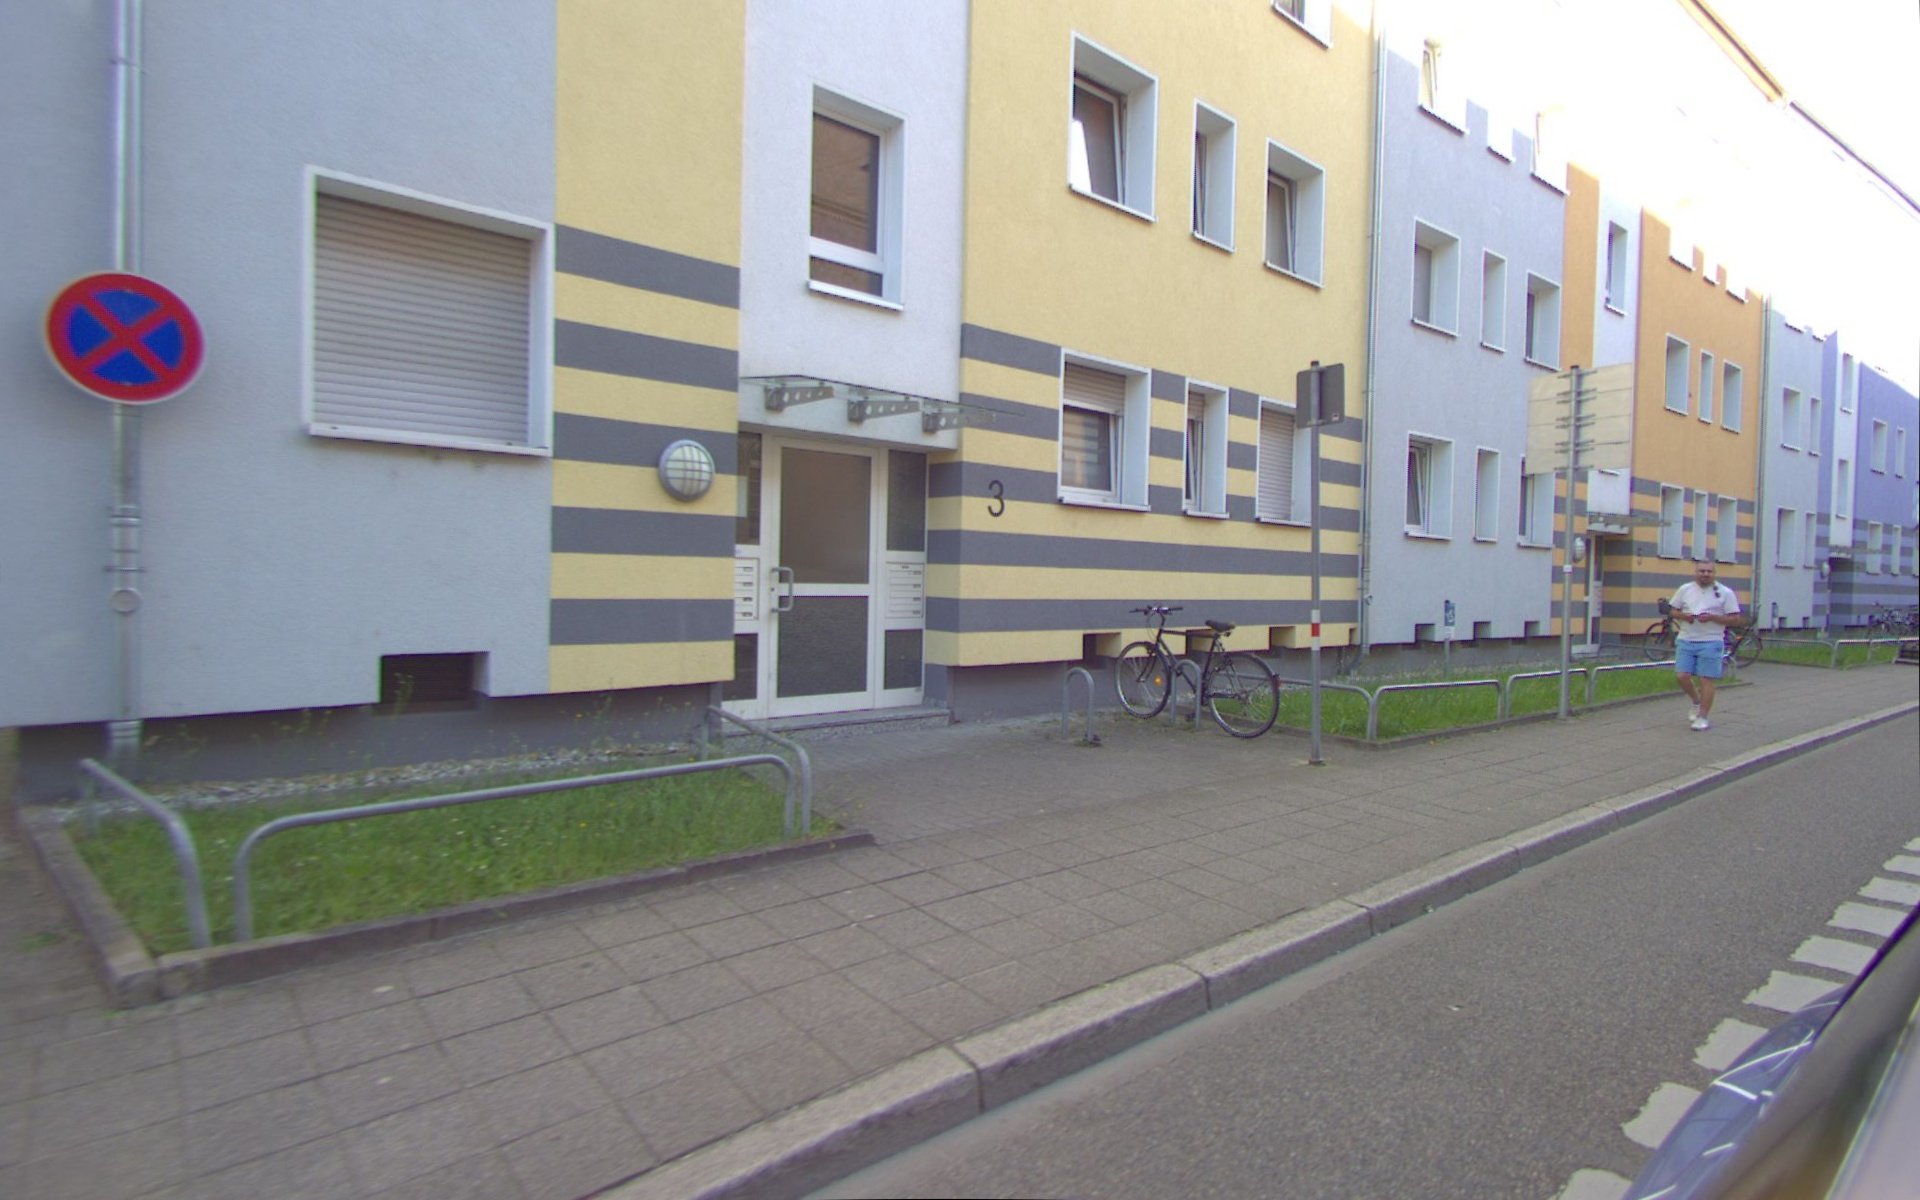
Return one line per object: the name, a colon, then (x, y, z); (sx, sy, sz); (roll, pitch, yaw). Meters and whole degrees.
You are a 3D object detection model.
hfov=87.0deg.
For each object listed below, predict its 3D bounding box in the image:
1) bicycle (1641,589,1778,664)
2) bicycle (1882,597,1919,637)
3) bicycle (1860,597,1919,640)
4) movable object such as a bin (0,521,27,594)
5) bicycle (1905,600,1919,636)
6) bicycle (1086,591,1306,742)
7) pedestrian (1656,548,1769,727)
bicycle: (12.929, 0.426, 17.512); (0.573, 1.138, 1.776); (0, 4, -41)
bicycle: (25.740, 0.492, 26.834); (0.572, 1.007, 1.780); (0, 4, -32)
bicycle: (24.567, 0.496, 26.183); (0.572, 1.007, 1.780); (0, 4, -32)
movable object such as a bin: (-21.775, -0.970, 22.509); (1.159, 1.603, 1.237); (1, 3, -25)
bicycle: (26.445, 0.545, 26.930); (0.572, 0.950, 1.780); (0, 4, -32)
bicycle: (1.975, 0.506, 8.667); (0.574, 1.061, 1.774); (-1, 4, -44)
pedestrian: (7.553, 0.346, 10.155); (0.819, 1.692, 0.644); (0, 2, -38)
